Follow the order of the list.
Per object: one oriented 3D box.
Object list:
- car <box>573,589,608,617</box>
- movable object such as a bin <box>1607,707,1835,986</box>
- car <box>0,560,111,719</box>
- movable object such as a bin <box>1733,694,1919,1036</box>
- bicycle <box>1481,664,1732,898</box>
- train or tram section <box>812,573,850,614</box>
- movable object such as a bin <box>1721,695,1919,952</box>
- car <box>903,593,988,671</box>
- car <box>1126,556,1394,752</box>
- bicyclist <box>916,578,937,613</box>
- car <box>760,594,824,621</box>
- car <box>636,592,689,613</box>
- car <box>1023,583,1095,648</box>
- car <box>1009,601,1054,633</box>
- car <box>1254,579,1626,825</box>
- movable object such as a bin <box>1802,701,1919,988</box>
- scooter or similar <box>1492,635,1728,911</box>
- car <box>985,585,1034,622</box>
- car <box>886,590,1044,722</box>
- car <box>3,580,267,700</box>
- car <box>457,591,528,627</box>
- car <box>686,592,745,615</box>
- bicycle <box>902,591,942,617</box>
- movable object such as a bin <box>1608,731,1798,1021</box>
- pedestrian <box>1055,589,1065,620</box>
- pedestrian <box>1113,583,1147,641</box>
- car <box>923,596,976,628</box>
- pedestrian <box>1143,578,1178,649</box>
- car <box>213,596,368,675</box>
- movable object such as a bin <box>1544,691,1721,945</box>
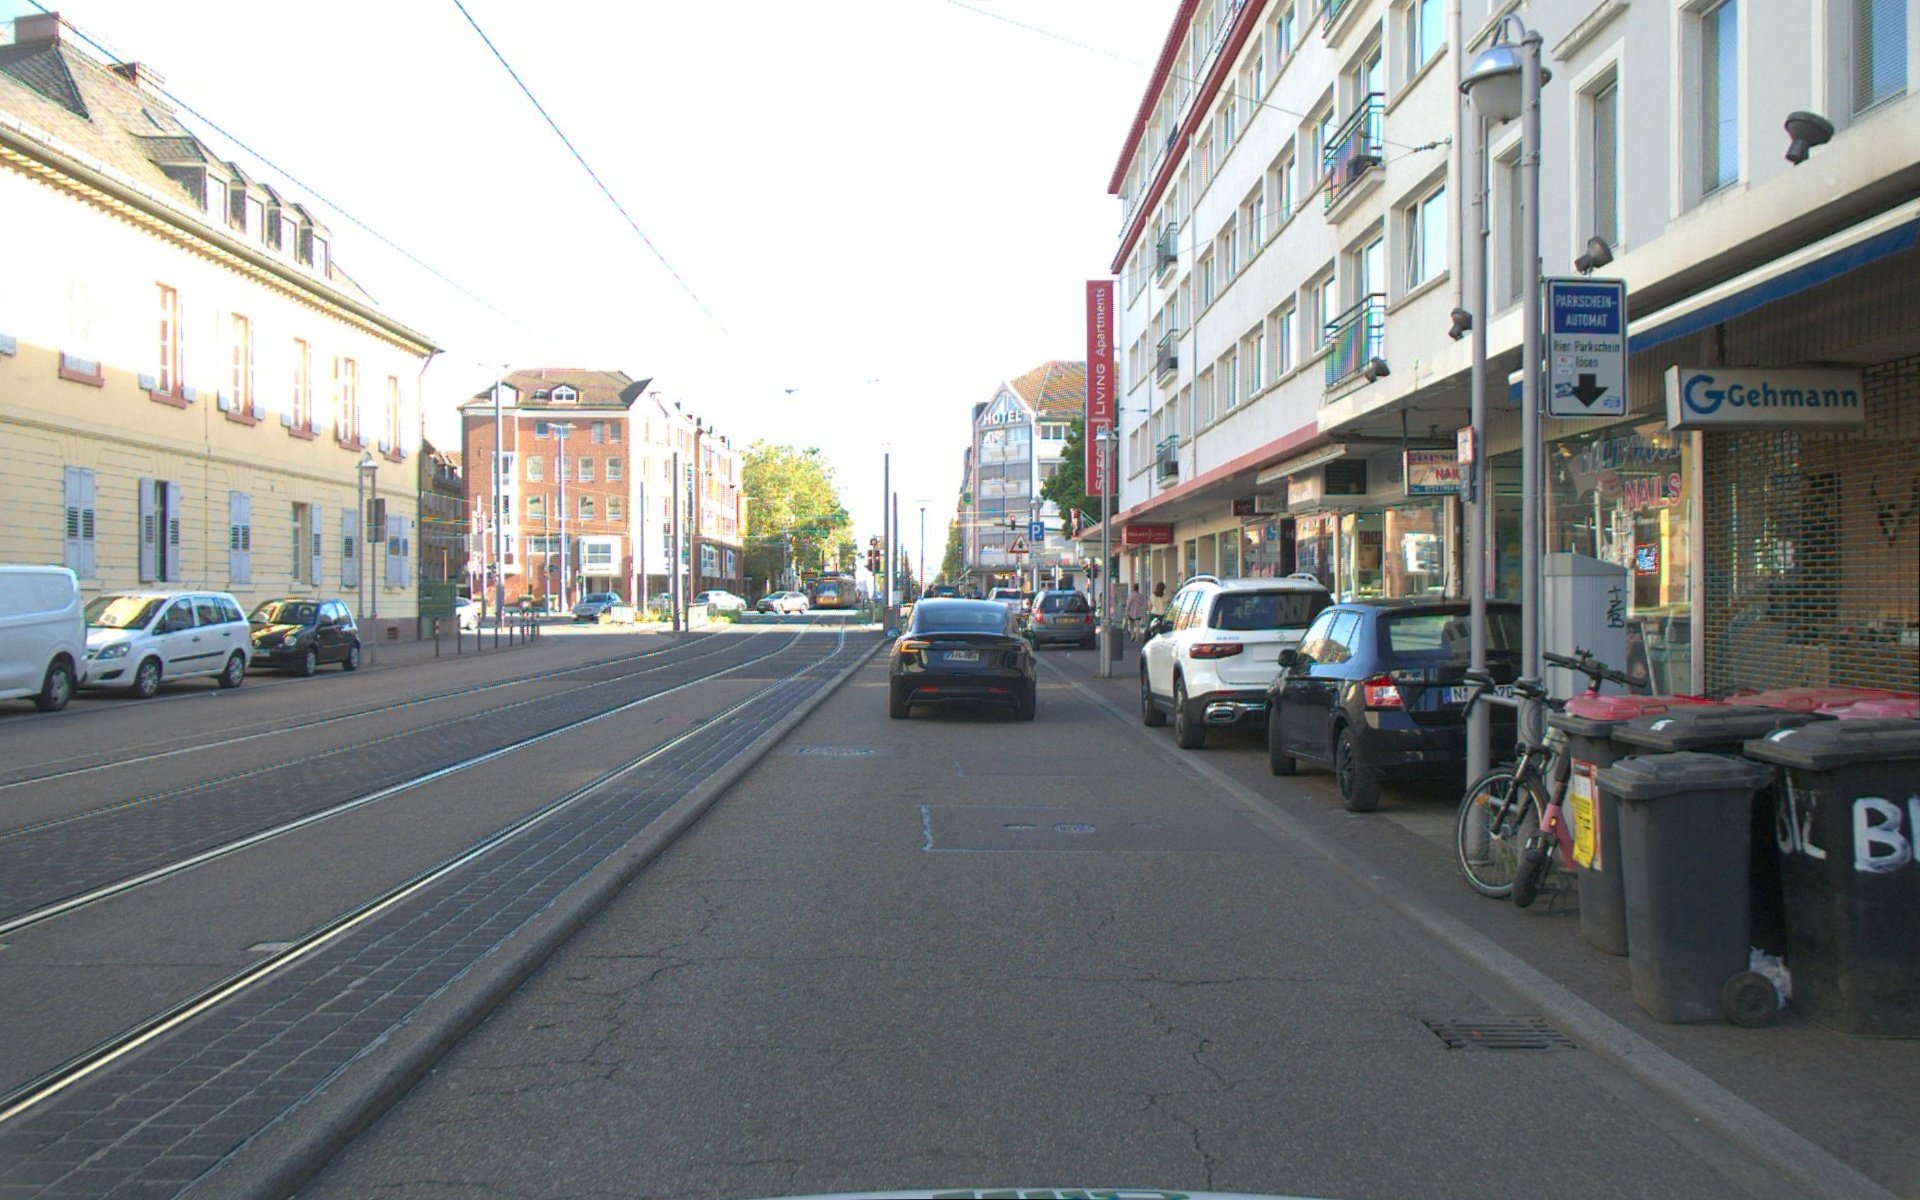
[{"bbox_3d":[-20.744,0.179,92.909,1.848,1.522,4.913,-1,0,-13],"label":"car"},{"bbox_3d":[3.036,0.968,6.637,0.672,1.032,0.508,-1,0,2],"label":"movable object such as a bin"},{"bbox_3d":[-13.078,0.467,21.038,1.953,2.009,5.095,2,0,-1],"label":"car"},{"bbox_3d":[3.288,0.919,5.956,0.676,1.108,0.686,-1,0,2],"label":"movable object such as a bin"},{"bbox_3d":[3.244,0.899,8.328,1.108,1.098,0.319,-2,0,-2],"label":"bicycle"},{"bbox_3d":[-12.621,-0.638,163.236,2.620,3.780,14.191,2,0,0],"label":"train or tram section"},{"bbox_3d":[3.816,0.956,7.266,0.644,1.032,0.636,-1,0,2],"label":"movable object such as a bin"},{"bbox_3d":[-0.283,0.614,34.200,1.619,1.443,4.000,1,1,0],"label":"car"},{"bbox_3d":[3.049,0.501,17.941,1.812,1.754,5.191,-2,0,-1],"label":"car"},{"bbox_3d":[-1.496,-0.201,74.328,0.820,1.526,0.559,2,0,-9],"label":"bicyclist"},{"bbox_3d":[-11.439,0.505,112.734,3.959,1.769,1.973,-1,0,-38],"label":"car"},{"bbox_3d":[-22.944,0.201,127.355,3.928,1.495,1.989,2,0,41],"label":"car"},{"bbox_3d":[2.698,0.394,45.709,1.709,1.660,3.649,-1,0,0],"label":"car"},{"bbox_3d":[3.664,0.853,85.199,1.789,1.545,3.645,2,0,-6],"label":"car"},{"bbox_3d":[3.462,0.658,12.719,1.581,1.555,4.069,-1,0,-1],"label":"car"},{"bbox_3d":[3.804,0.934,6.517,0.644,1.032,0.636,-1,0,2],"label":"movable object such as a bin"},{"bbox_3d":[3.121,0.818,7.968,0.973,1.253,0.319,-2,0,-2],"label":"scooter or similar"},{"bbox_3d":[2.149,0.139,73.079,1.748,1.545,4.215,2,0,-4],"label":"car"},{"bbox_3d":[0.006,0.656,21.197,1.811,1.510,3.786,1,0,-2],"label":"car"},{"bbox_3d":[-13.127,0.593,26.695,1.770,1.715,4.649,2,0,2],"label":"car"},{"bbox_3d":[-20.527,0.383,72.791,1.864,1.489,4.000,2,0,1],"label":"car"},{"bbox_3d":[-17.224,0.256,116.502,1.959,1.445,3.987,2,0,34],"label":"car"},{"bbox_3d":[-1.687,0.181,74.158,1.696,1.107,0.677,2,0,-9],"label":"bicycle"},{"bbox_3d":[2.706,0.991,6.052,0.477,0.975,0.458,-1,0,2],"label":"movable object such as a bin"},{"bbox_3d":[5.626,0.240,93.233,0.550,1.712,0.750,1,0,4],"label":"pedestrian"},{"bbox_3d":[5.089,0.362,49.478,0.800,1.712,0.714,1,0,22],"label":"pedestrian"},{"bbox_3d":[-0.552,0.593,84.627,1.793,1.545,4.204,2,0,-13],"label":"car"},{"bbox_3d":[5.197,0.351,42.875,0.786,1.805,0.933,-1,0,13],"label":"pedestrian"},{"bbox_3d":[-13.160,0.663,32.737,1.581,1.425,3.719,2,0,-1],"label":"car"},{"bbox_3d":[2.959,0.940,7.327,0.511,1.032,0.671,-1,0,2],"label":"movable object such as a bin"}]
